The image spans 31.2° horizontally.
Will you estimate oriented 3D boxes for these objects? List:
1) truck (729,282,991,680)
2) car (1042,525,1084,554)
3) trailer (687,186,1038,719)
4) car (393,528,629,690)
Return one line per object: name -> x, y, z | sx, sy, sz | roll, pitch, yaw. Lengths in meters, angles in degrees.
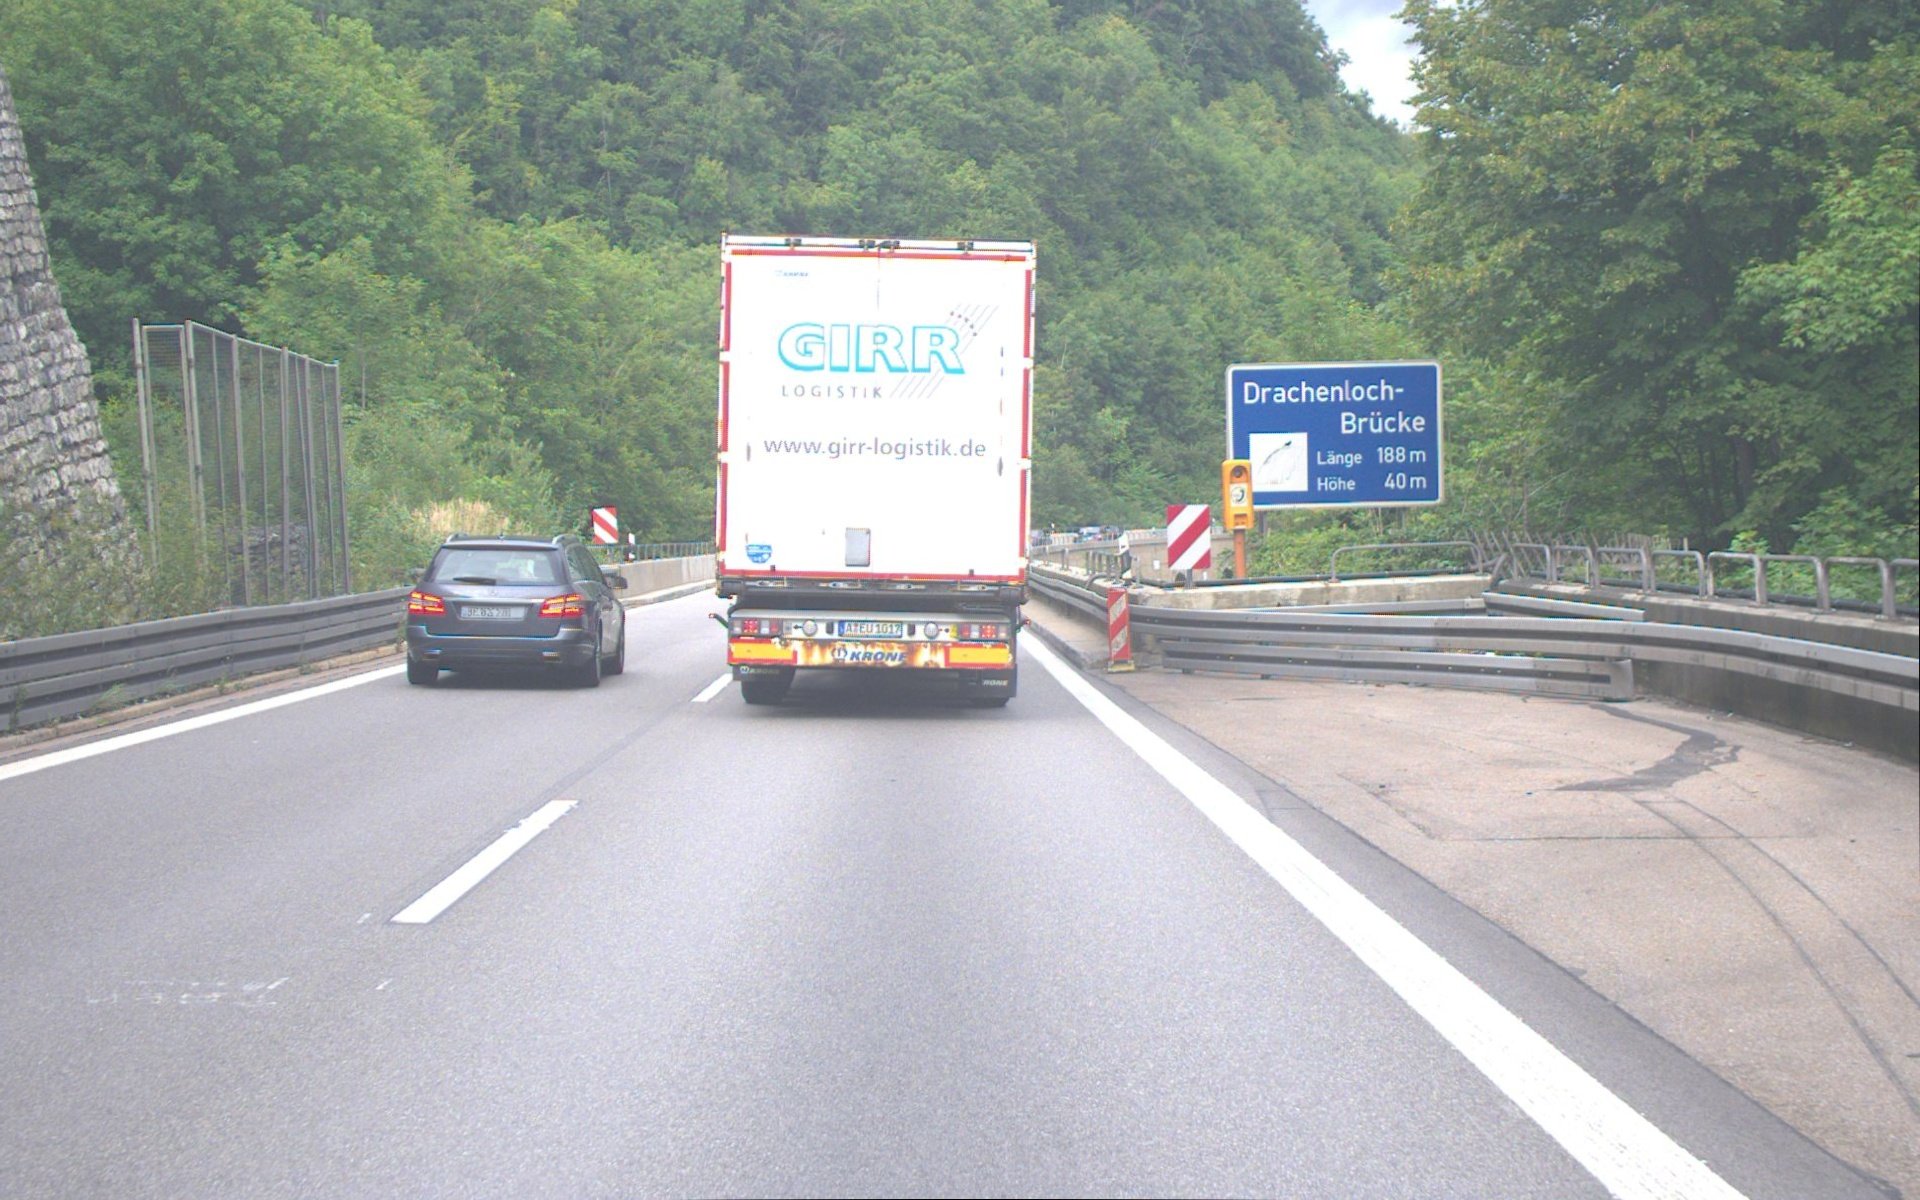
truck -> -1.184, -1.321, 40.255 | 2.813, 4.288, 6.259 | 0, 1, -2
car -> 6.220, -3.657, 207.451 | 1.994, 1.678, 3.998 | 0, 0, 9
trailer -> -0.983, -1.252, 33.807 | 2.813, 4.288, 12.246 | 0, 1, -2
car -> -4.419, 0.062, 34.426 | 1.883, 1.505, 4.419 | 0, 1, -1
